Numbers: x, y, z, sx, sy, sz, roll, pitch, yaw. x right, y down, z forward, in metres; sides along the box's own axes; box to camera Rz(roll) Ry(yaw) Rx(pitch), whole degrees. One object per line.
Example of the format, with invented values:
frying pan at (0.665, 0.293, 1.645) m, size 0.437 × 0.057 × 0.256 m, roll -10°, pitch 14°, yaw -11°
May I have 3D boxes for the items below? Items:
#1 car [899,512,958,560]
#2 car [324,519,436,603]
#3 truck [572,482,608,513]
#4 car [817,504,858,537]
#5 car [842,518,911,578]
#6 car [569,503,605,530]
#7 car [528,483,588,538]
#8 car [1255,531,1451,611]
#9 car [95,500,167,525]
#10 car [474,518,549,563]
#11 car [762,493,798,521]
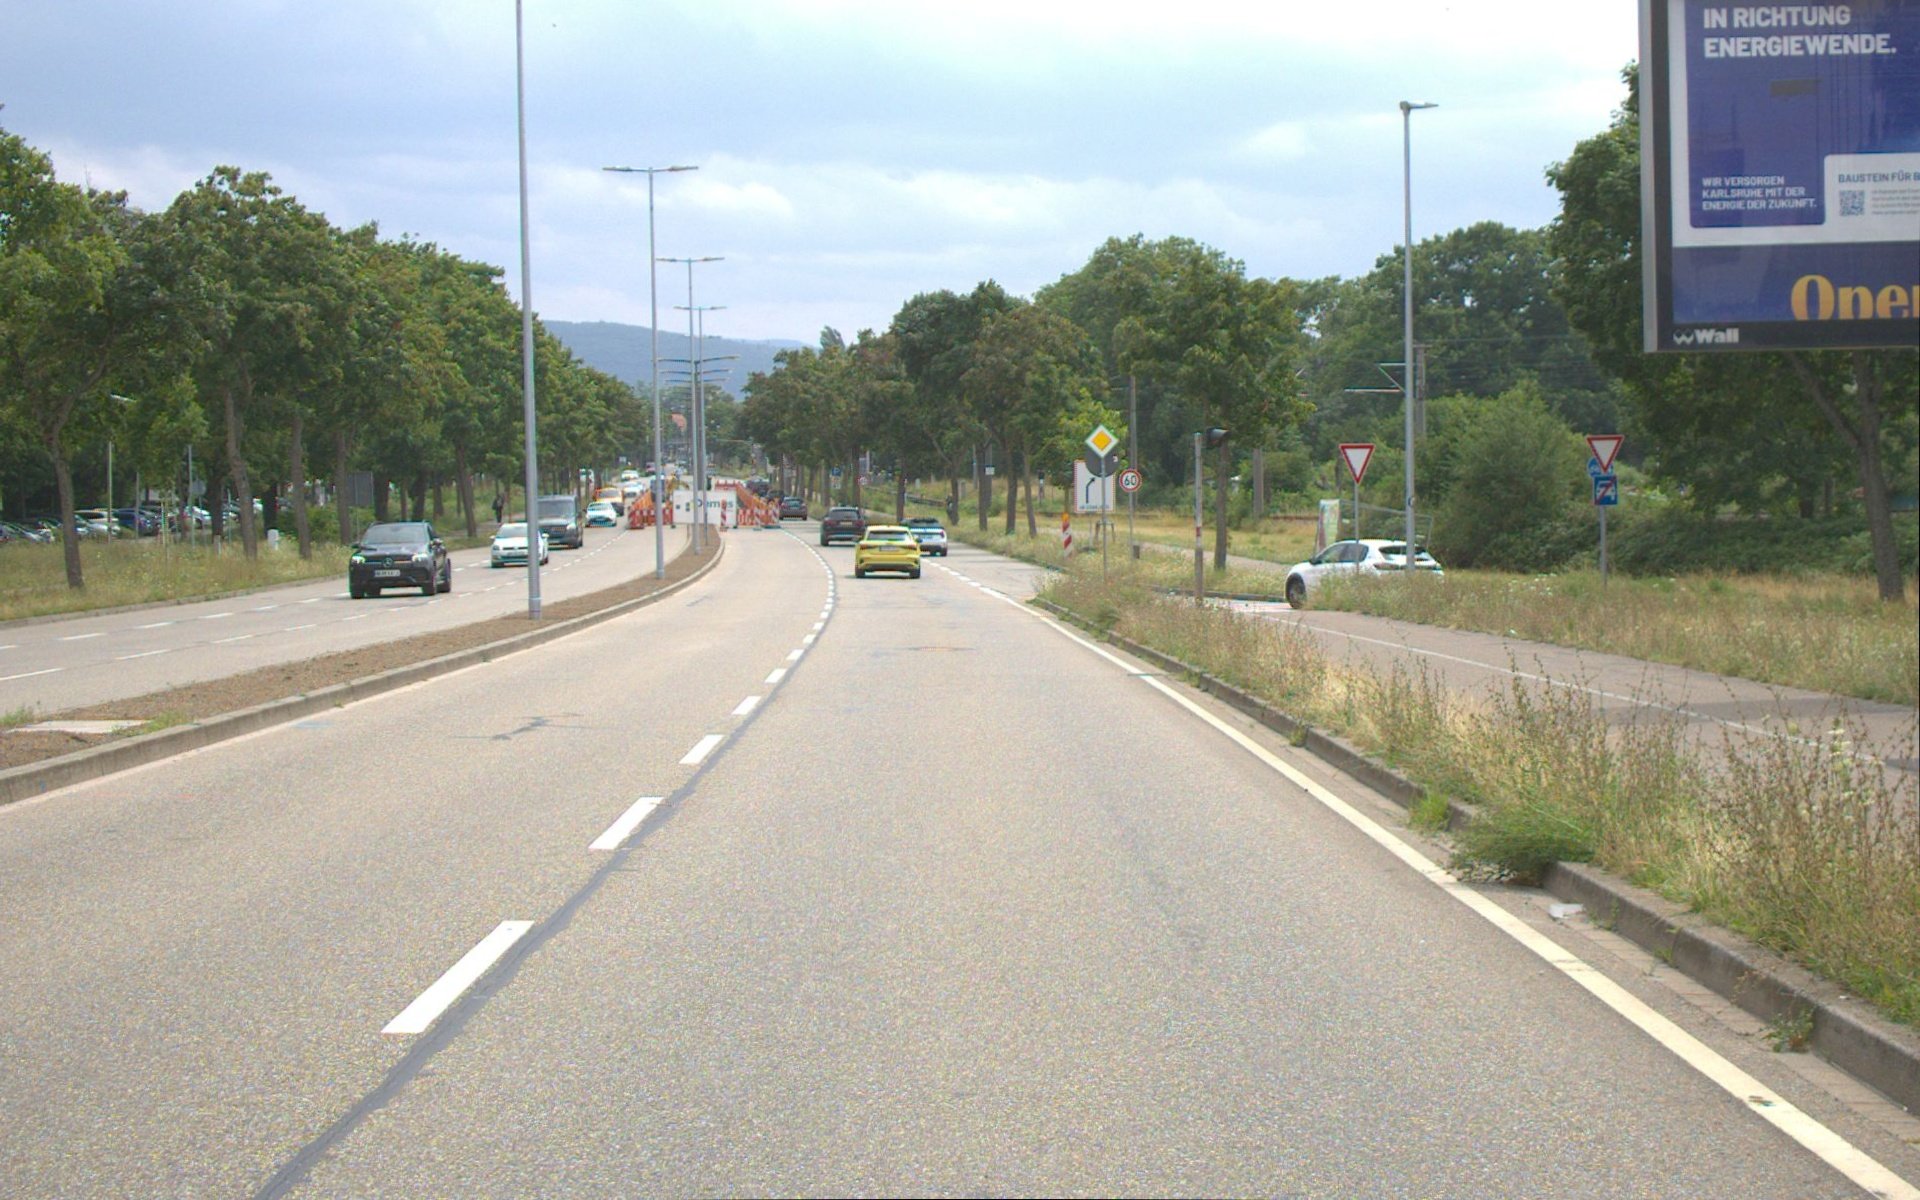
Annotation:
car at (-1.176, -2.361, 126.908) m, size 2.013 × 1.664 × 4.001 m, roll 0°, pitch 2°, yaw -3°
car at (-13.772, -0.957, 81.861) m, size 1.993 × 1.805 × 4.799 m, roll -1°, pitch 2°, yaw -2°
truck at (-25.517, -7.094, 237.314) m, size 2.088 × 1.987 × 6.040 m, roll -2°, pitch 3°, yaw -3°
car at (-5.127, -3.321, 143.397) m, size 1.667 × 1.265 × 4.001 m, roll 0°, pitch 2°, yaw -3°
car at (-2.334, -1.452, 95.134) m, size 1.793 × 1.556 × 4.001 m, roll 0°, pitch 2°, yaw -3°
car at (-21.601, -4.867, 199.172) m, size 1.716 × 1.415 × 4.161 m, roll -2°, pitch 3°, yaw -3°
car at (-17.027, -3.808, 145.695) m, size 2.095 × 2.193 × 6.005 m, roll -2°, pitch 2°, yaw -3°
car at (7.834, -0.597, 68.890) m, size 1.767 × 1.459 × 4.000 m, roll -2°, pitch 3°, yaw -33°
car at (-48.929, -5.166, 202.915) m, size 3.772 × 1.421 × 1.966 m, roll 0°, pitch 2°, yaw -1°
car at (-15.313, -2.058, 117.622) m, size 1.993 × 1.426 × 4.689 m, roll -1°, pitch 2°, yaw -1°
car at (-11.385, -5.919, 217.798) m, size 2.206 × 1.678 × 4.001 m, roll 0°, pitch 2°, yaw -2°
